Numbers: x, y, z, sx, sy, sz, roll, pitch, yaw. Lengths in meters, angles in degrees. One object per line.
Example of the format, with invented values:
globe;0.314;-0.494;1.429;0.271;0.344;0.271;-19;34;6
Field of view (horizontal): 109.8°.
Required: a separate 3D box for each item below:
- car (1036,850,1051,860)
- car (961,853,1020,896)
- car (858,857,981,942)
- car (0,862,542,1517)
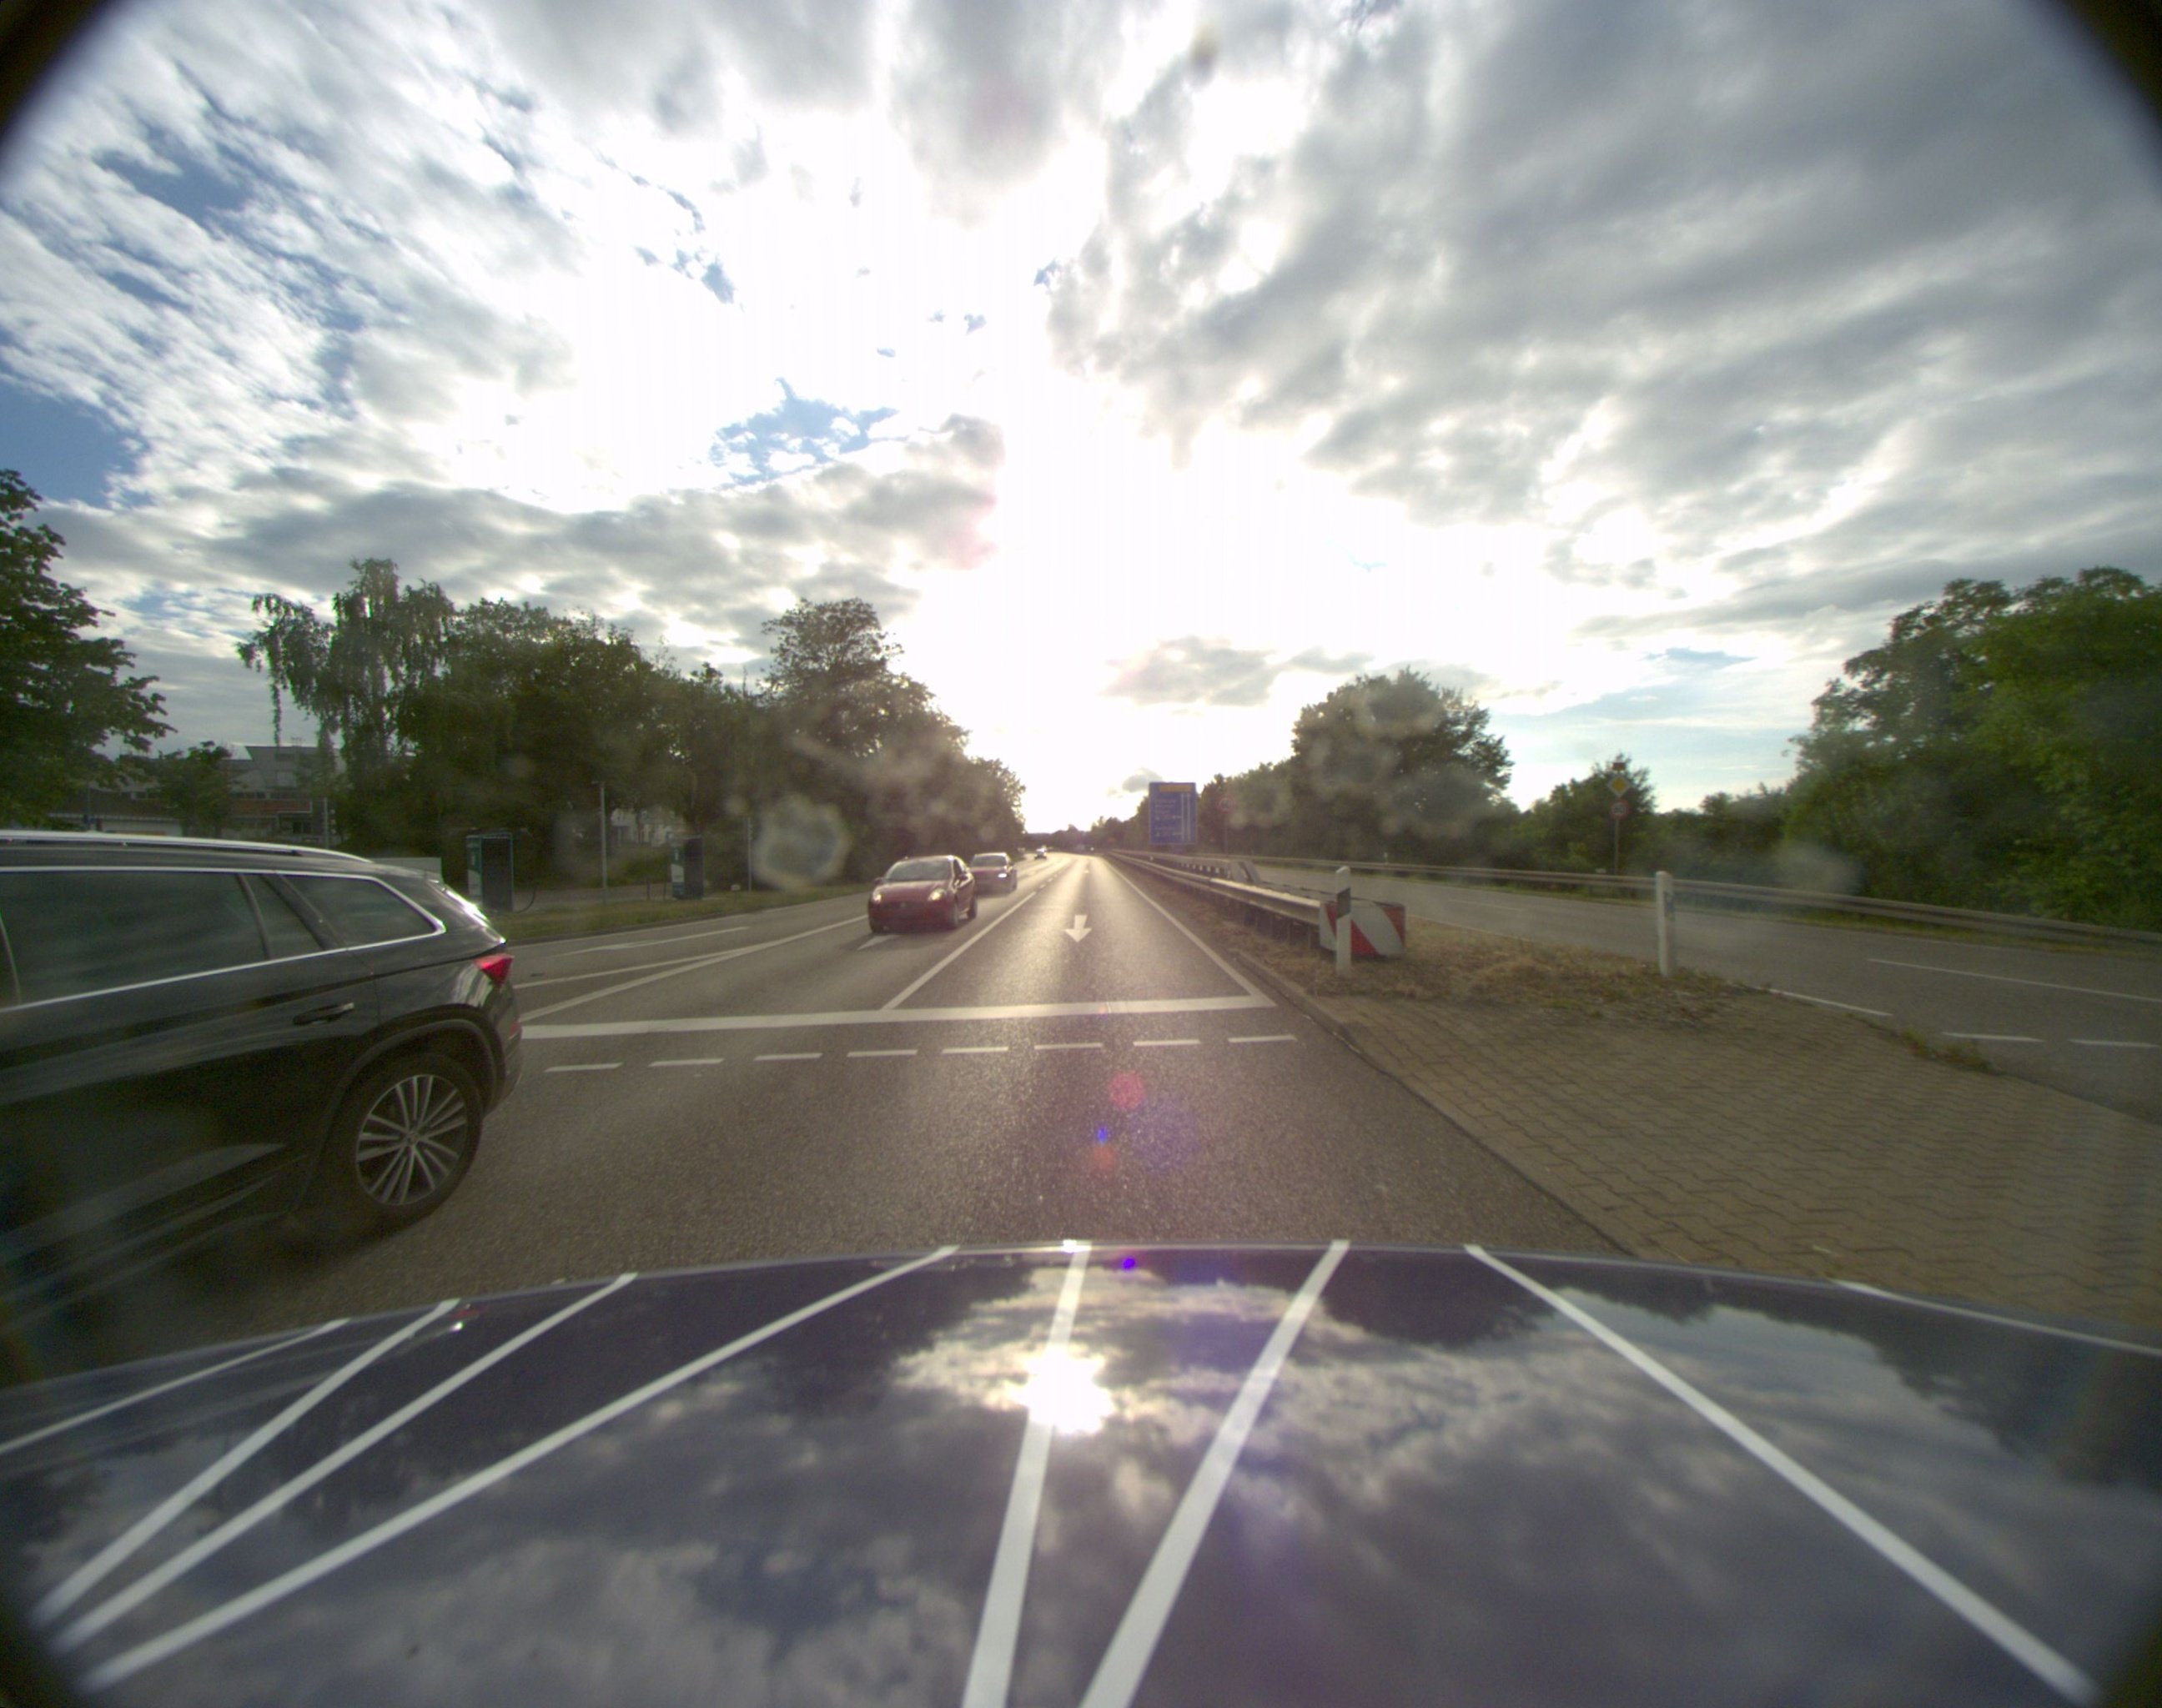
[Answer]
car;-5.558;0.179;112.701;1.998;1.486;3.999;0;1;1
car;-3.321;0.705;28.495;1.700;1.407;3.999;-2;1;0
car;-3.223;0.845;15.913;1.667;1.424;3.994;-2;1;0
car;-3.735;0.929;1.647;1.849;1.640;4.480;-3;1;0
